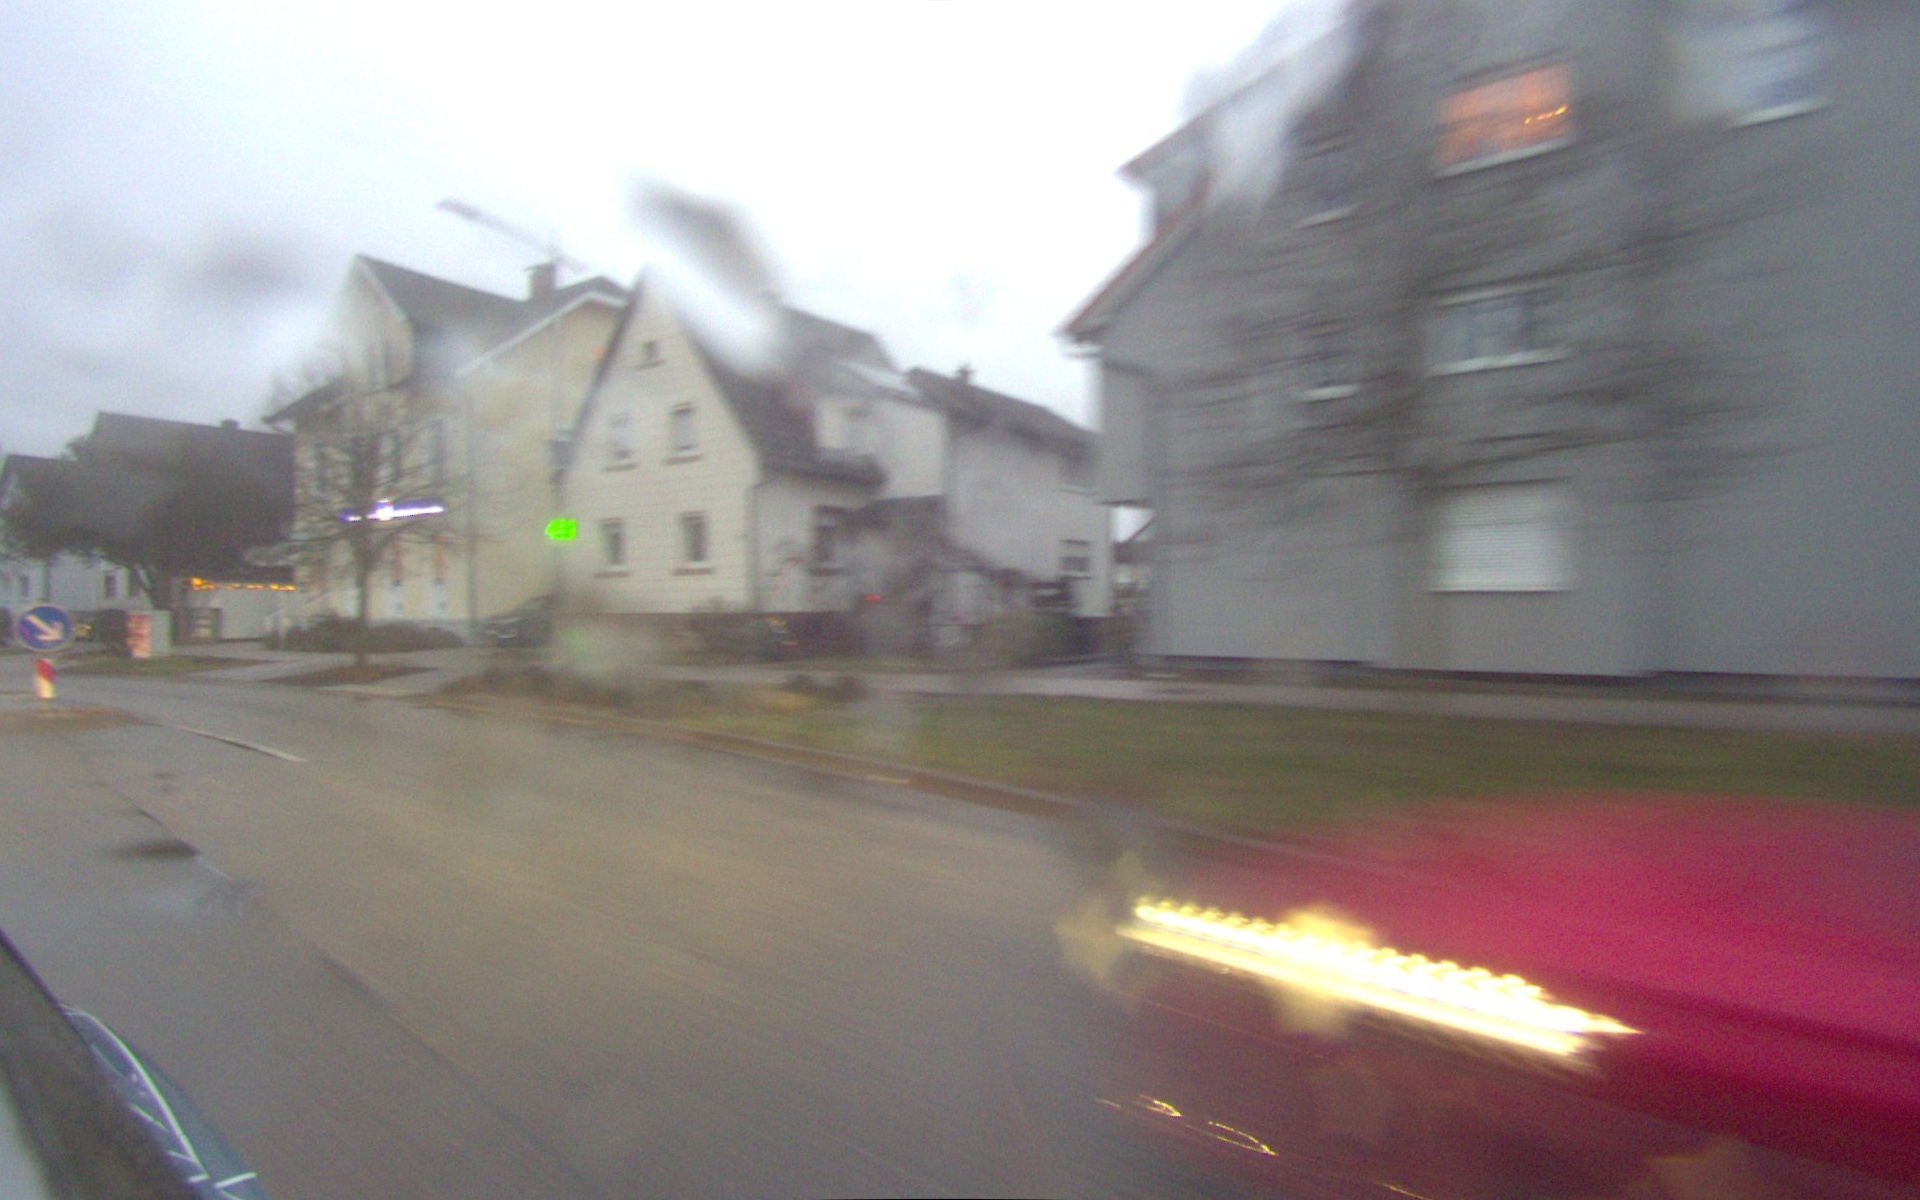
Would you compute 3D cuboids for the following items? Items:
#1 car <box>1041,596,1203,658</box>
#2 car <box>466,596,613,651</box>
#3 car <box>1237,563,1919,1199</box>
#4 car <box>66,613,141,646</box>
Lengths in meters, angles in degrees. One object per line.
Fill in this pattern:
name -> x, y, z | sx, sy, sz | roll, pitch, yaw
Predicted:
car -> 4.380, 0.680, 27.652 | 3.997, 1.537, 1.889 | 0, 1, 40
car -> -13.381, 0.710, 32.364 | 1.917, 1.612, 3.954 | -1, 0, 34
car -> 2.820, 0.687, 1.094 | 1.884, 1.499, 4.573 | 1, -1, -42
car -> -39.086, 1.316, 46.171 | 3.993, 1.376, 1.765 | 0, 1, 37
